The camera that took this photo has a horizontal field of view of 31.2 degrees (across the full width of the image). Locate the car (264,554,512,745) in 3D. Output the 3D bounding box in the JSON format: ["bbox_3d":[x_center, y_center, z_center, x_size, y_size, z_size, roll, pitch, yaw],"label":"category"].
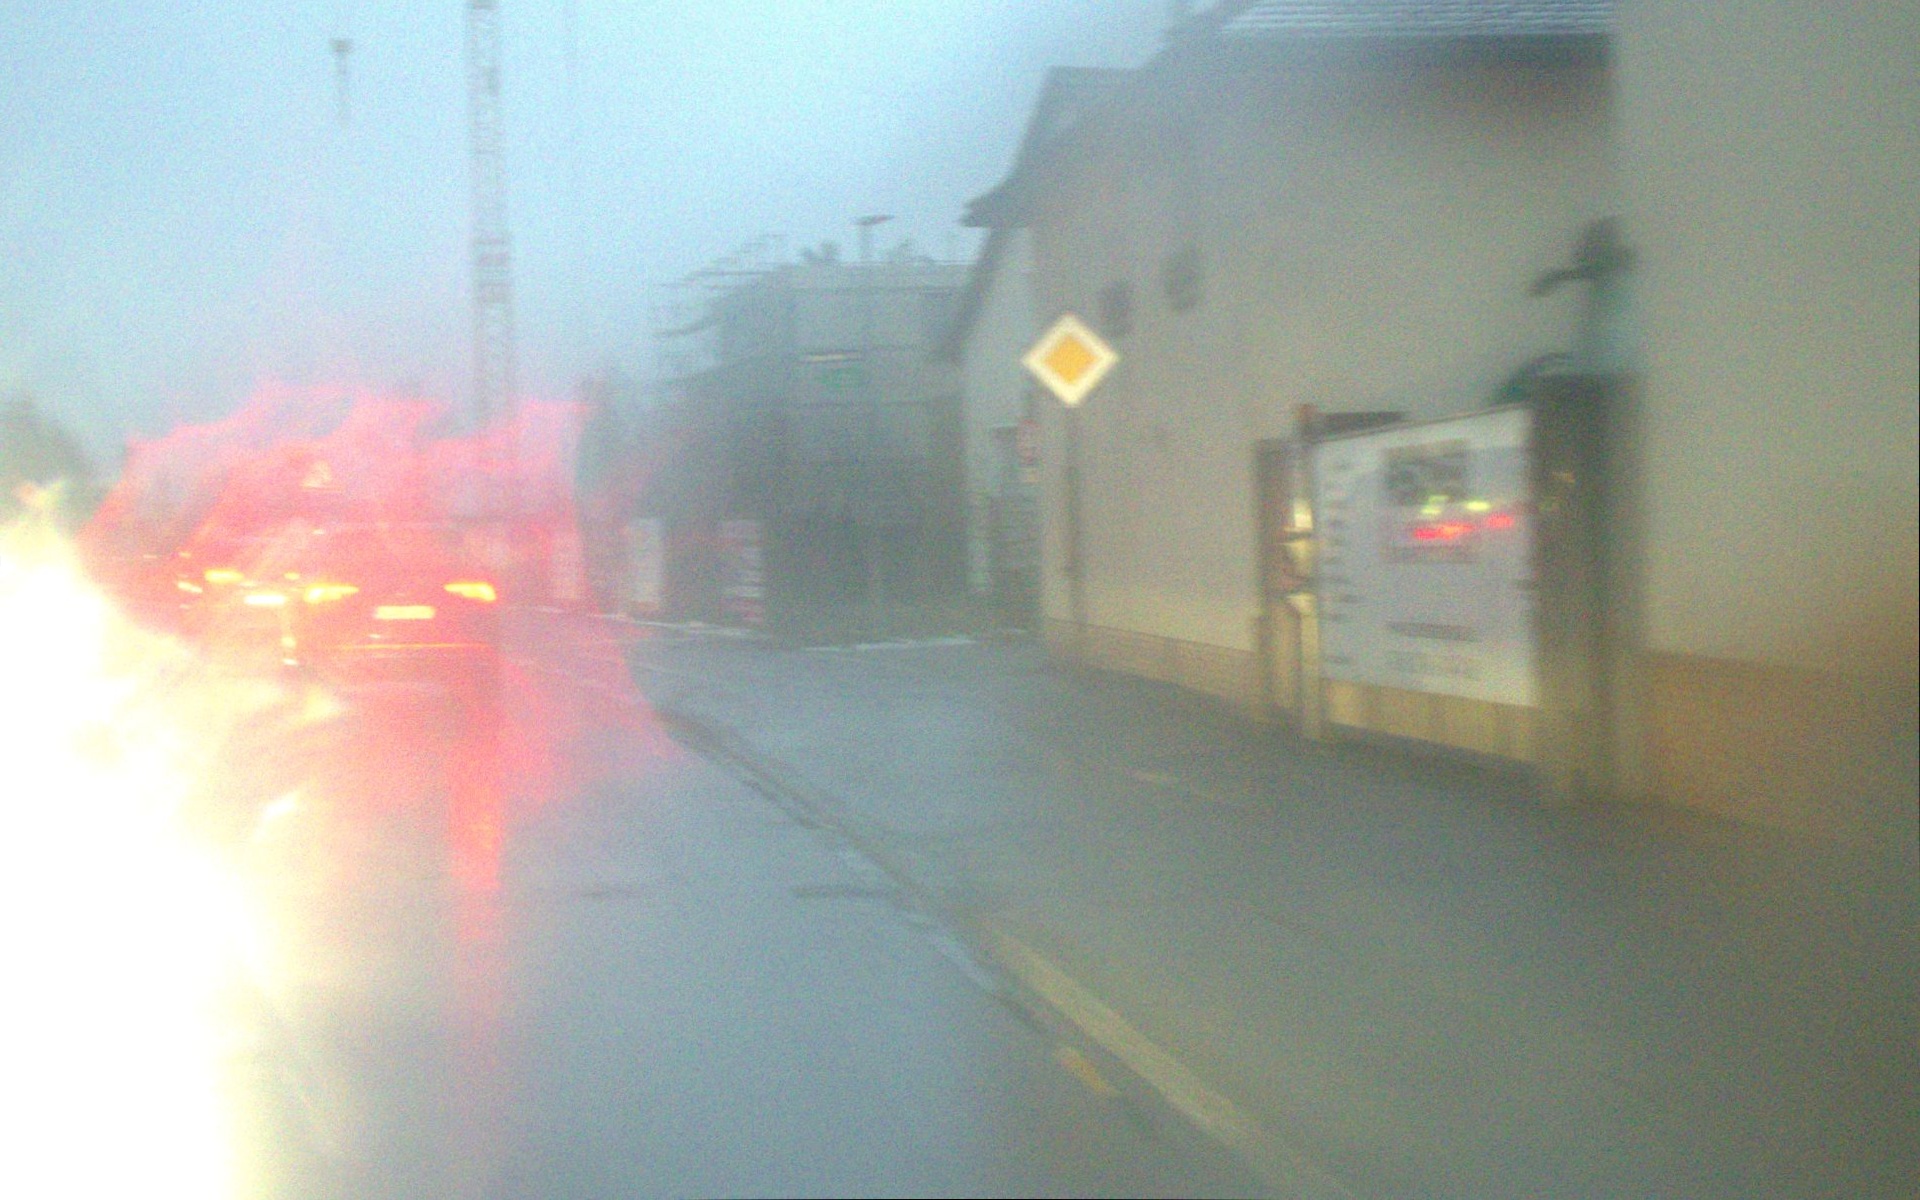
[{"bbox_3d":[-5.304,0.408,31.745,2.046,1.567,4.704,-2,1,-10],"label":"car"}]

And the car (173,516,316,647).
[{"bbox_3d":[-11.015,-0.321,52.992,1.993,1.875,4.001,-2,2,-11],"label":"car"}]

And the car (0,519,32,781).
[{"bbox_3d":[-6.739,0.351,20.470,1.875,1.580,4.291,-3,2,-10],"label":"car"}]
